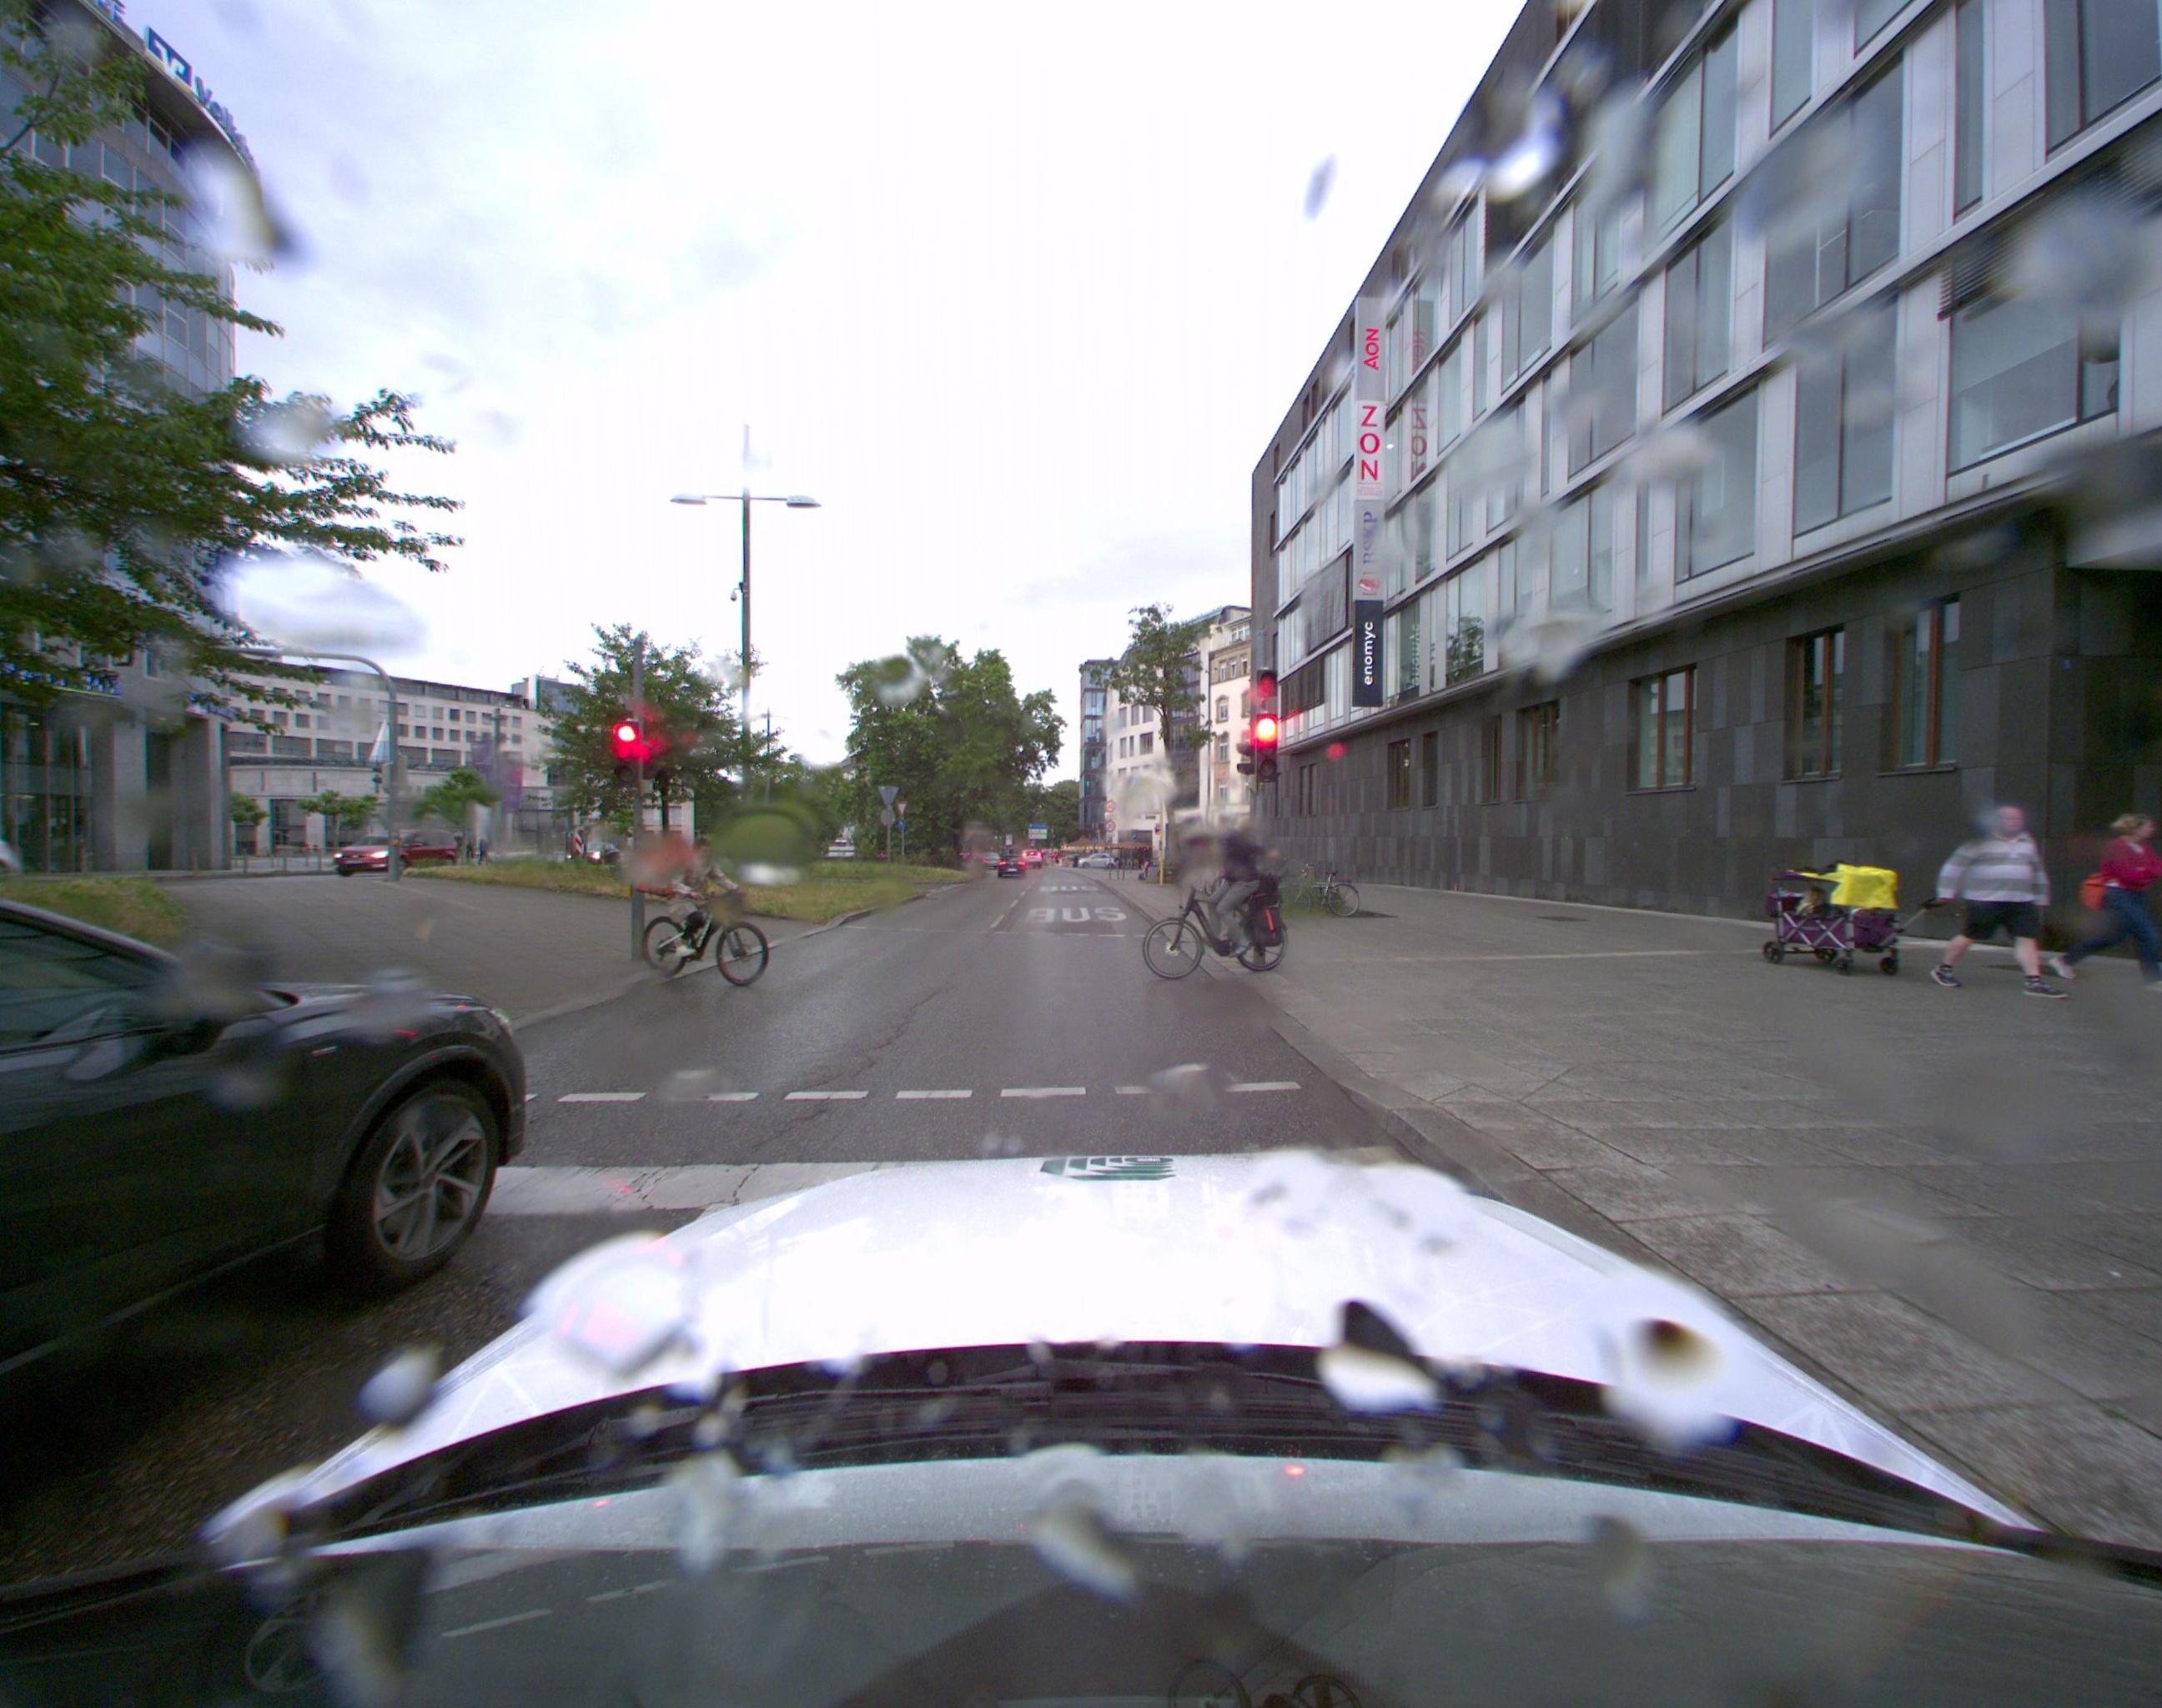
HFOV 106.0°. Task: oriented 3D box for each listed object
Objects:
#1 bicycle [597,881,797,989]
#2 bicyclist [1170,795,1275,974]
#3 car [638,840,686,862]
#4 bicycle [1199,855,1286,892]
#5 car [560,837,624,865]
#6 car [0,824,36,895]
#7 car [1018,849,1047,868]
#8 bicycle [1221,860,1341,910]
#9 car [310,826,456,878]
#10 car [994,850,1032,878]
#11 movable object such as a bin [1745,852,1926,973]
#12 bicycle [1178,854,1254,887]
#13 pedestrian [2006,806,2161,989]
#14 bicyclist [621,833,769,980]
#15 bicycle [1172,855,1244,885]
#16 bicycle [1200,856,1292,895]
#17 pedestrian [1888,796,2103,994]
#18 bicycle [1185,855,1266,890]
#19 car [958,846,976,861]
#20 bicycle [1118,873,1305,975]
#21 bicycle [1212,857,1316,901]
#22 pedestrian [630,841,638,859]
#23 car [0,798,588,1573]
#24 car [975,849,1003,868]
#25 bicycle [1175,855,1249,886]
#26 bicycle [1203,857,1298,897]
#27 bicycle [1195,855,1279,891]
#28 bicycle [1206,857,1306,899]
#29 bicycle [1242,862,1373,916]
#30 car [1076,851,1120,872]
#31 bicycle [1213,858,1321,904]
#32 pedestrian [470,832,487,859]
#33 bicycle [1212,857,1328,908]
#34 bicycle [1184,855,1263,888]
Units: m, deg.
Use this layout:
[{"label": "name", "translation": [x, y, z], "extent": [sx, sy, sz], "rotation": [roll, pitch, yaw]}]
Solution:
[{"label": "bicycle", "translation": [-4.524, 0.897, 9.607], "extent": [2.042, 1.114, 1.017], "rotation": [0, -1, 24]}, {"label": "bicyclist", "translation": [1.697, 0.355, 9.899], "extent": [1.080, 2.083, 0.761], "rotation": [0, 0, -6]}, {"label": "car", "translation": [-31.155, -0.234, 60.704], "extent": [1.803, 1.486, 4.372], "rotation": [2, 0, -8]}, {"label": "bicycle", "translation": [4.910, 0.599, 24.860], "extent": [2.530, 1.087, 0.677], "rotation": [0, 0, -3]}, {"label": "car", "translation": [-28.077, -0.160, 46.898], "extent": [1.805, 1.486, 3.986], "rotation": [2, 0, -10]}, {"label": "car", "translation": [-23.118, 0.120, 15.302], "extent": [1.818, 1.475, 4.183], "rotation": [0, 0, -7]}, {"label": "car", "translation": [-4.417, 0.404, 73.996], "extent": [2.179, 1.700, 3.987], "rotation": [0, 0, -10]}, {"label": "bicycle", "translation": [4.449, 0.683, 18.200], "extent": [2.530, 1.087, 0.677], "rotation": [0, 0, -3]}, {"label": "car", "translation": [-24.947, -0.070, 29.367], "extent": [1.723, 1.727, 4.572], "rotation": [0, 0, -7]}, {"label": "car", "translation": [-4.286, 0.589, 51.905], "extent": [2.156, 1.706, 4.551], "rotation": [0, 0, -2]}, {"label": "movable object such as a bin", "translation": [8.706, 0.624, 9.478], "extent": [0.729, 1.264, 1.444], "rotation": [-2, 0, -1]}, {"label": "bicycle", "translation": [4.680, 0.562, 28.327], "extent": [2.530, 1.087, 0.677], "rotation": [0, 0, -3]}, {"label": "pedestrian", "translation": [10.237, 0.390, 8.125], "extent": [0.716, 1.690, 1.099], "rotation": [-2, 0, -4]}, {"label": "bicyclist", "translation": [-4.549, 0.582, 9.646], "extent": [1.122, 1.582, 1.020], "rotation": [3, 0, 24]}, {"label": "bicycle", "translation": [4.644, 0.581, 29.798], "extent": [2.530, 1.087, 0.627], "rotation": [0, 0, -3]}, {"label": "bicycle", "translation": [4.781, 0.617, 23.666], "extent": [2.530, 1.087, 0.677], "rotation": [0, 0, -3]}, {"label": "pedestrian", "translation": [8.952, 0.373, 8.029], "extent": [0.898, 1.792, 1.045], "rotation": [-2, 0, -4]}, {"label": "bicycle", "translation": [4.717, 0.593, 26.684], "extent": [2.530, 1.087, 0.677], "rotation": [0, 0, -3]}, {"label": "car", "translation": [-13.086, -0.033, 93.535], "extent": [1.944, 1.646, 3.988], "rotation": [0, 0, -9]}, {"label": "bicycle", "translation": [1.549, 0.819, 9.876], "extent": [2.123, 1.145, 0.761], "rotation": [0, 0, -6]}, {"label": "bicycle", "translation": [4.721, 0.640, 21.079], "extent": [2.530, 1.087, 0.677], "rotation": [0, 0, -3]}, {"label": "pedestrian", "translation": [-52.419, -0.473, 95.487], "extent": [0.793, 2.013, 0.734], "rotation": [2, 0, -26]}, {"label": "car", "translation": [-3.161, 0.679, 1.588], "extent": [1.842, 1.616, 4.251], "rotation": [1, 1, -1]}, {"label": "car", "translation": [-8.196, 0.348, 72.206], "extent": [1.948, 1.646, 4.225], "rotation": [0, 0, -14]}, {"label": "bicycle", "translation": [4.657, 0.573, 29.076], "extent": [2.530, 1.087, 0.677], "rotation": [0, 0, -3]}, {"label": "bicycle", "translation": [4.723, 0.634, 22.758], "extent": [2.530, 1.060, 0.677], "rotation": [0, 0, -3]}, {"label": "bicycle", "translation": [4.930, 0.595, 25.839], "extent": [2.530, 1.087, 0.677], "rotation": [0, 0, -3]}, {"label": "bicycle", "translation": [4.690, 0.634, 21.891], "extent": [2.530, 1.087, 0.677], "rotation": [0, 0, -3]}, {"label": "bicycle", "translation": [4.629, 0.695, 16.717], "extent": [2.530, 1.057, 0.677], "rotation": [0, 0, -3]}, {"label": "car", "translation": [1.570, 0.652, 76.833], "extent": [3.977, 1.647, 1.998], "rotation": [4, 0, -3]}, {"label": "bicycle", "translation": [4.595, 0.662, 20.227], "extent": [2.530, 1.087, 0.677], "rotation": [0, 0, -3]}, {"label": "pedestrian", "translation": [-40.033, -0.571, 54.153], "extent": [0.621, 1.763, 0.722], "rotation": [-2, 0, -14]}, {"label": "bicycle", "translation": [4.397, 0.663, 19.005], "extent": [2.530, 1.087, 0.677], "rotation": [2, 0, -3]}, {"label": "bicycle", "translation": [4.776, 0.575, 27.435], "extent": [2.530, 1.087, 0.677], "rotation": [0, 0, -3]}]
